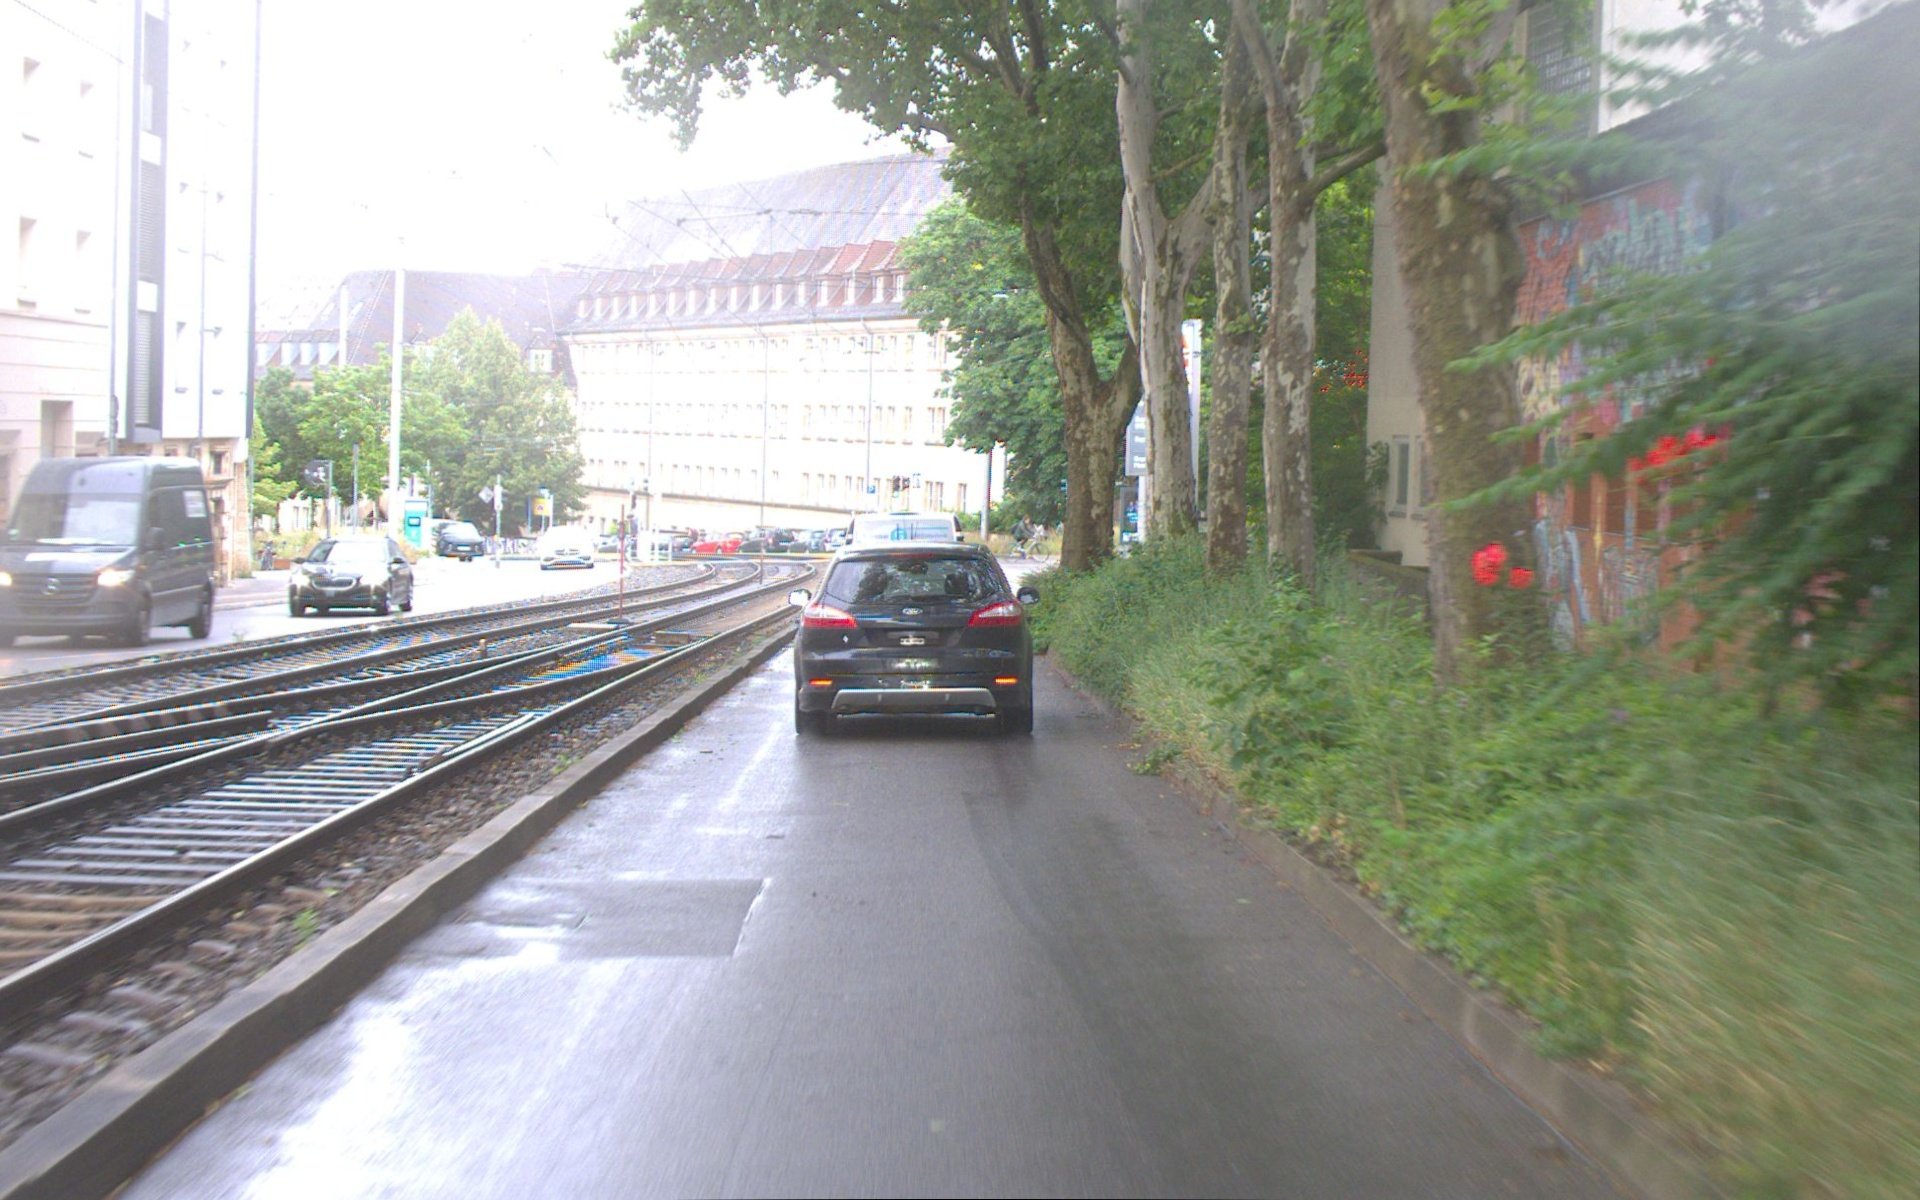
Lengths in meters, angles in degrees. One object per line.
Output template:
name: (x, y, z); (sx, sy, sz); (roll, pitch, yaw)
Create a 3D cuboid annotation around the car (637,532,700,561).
car: (-15.690, -2.898, 184.984); (1.993, 1.537, 4.001); (-1, 2, -28)

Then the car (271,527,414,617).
car: (-11.719, -0.564, 65.546); (1.880, 1.481, 4.855); (1, 3, 0)

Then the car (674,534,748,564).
car: (-13.062, -2.674, 180.188); (1.994, 1.537, 3.999); (1, 1, -36)

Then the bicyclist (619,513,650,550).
bicyclist: (-11.490, -2.414, 121.245); (0.772, 1.309, 0.791); (-1, 2, -37)

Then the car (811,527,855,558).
car: (-6.206, -2.793, 167.315); (1.657, 1.471, 3.645); (1, 1, -9)

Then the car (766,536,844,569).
car: (-7.727, -2.370, 171.007); (1.994, 1.537, 4.000); (1, 1, -35)

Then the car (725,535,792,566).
car: (-10.317, -2.521, 175.807); (1.581, 1.537, 4.000); (1, 1, -35)

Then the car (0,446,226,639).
car: (-11.655, -0.753, 46.936); (1.993, 2.443, 5.998); (1, 0, 0)

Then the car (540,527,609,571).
car: (-13.336, -1.774, 119.181); (1.799, 1.477, 4.840); (1, 1, 1)

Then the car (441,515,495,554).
car: (-19.857, -2.643, 138.664); (1.993, 1.537, 4.001); (1, 1, -10)

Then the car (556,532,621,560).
car: (-20.807, -3.029, 192.520); (1.993, 1.537, 4.000); (1, 1, -33)

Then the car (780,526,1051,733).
car: (-0.409, 0.190, 27.275); (1.933, 1.448, 4.318); (2, 1, -2)

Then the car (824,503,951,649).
car: (-1.047, -0.362, 50.042); (1.740, 2.007, 3.904); (1, 1, -1)
